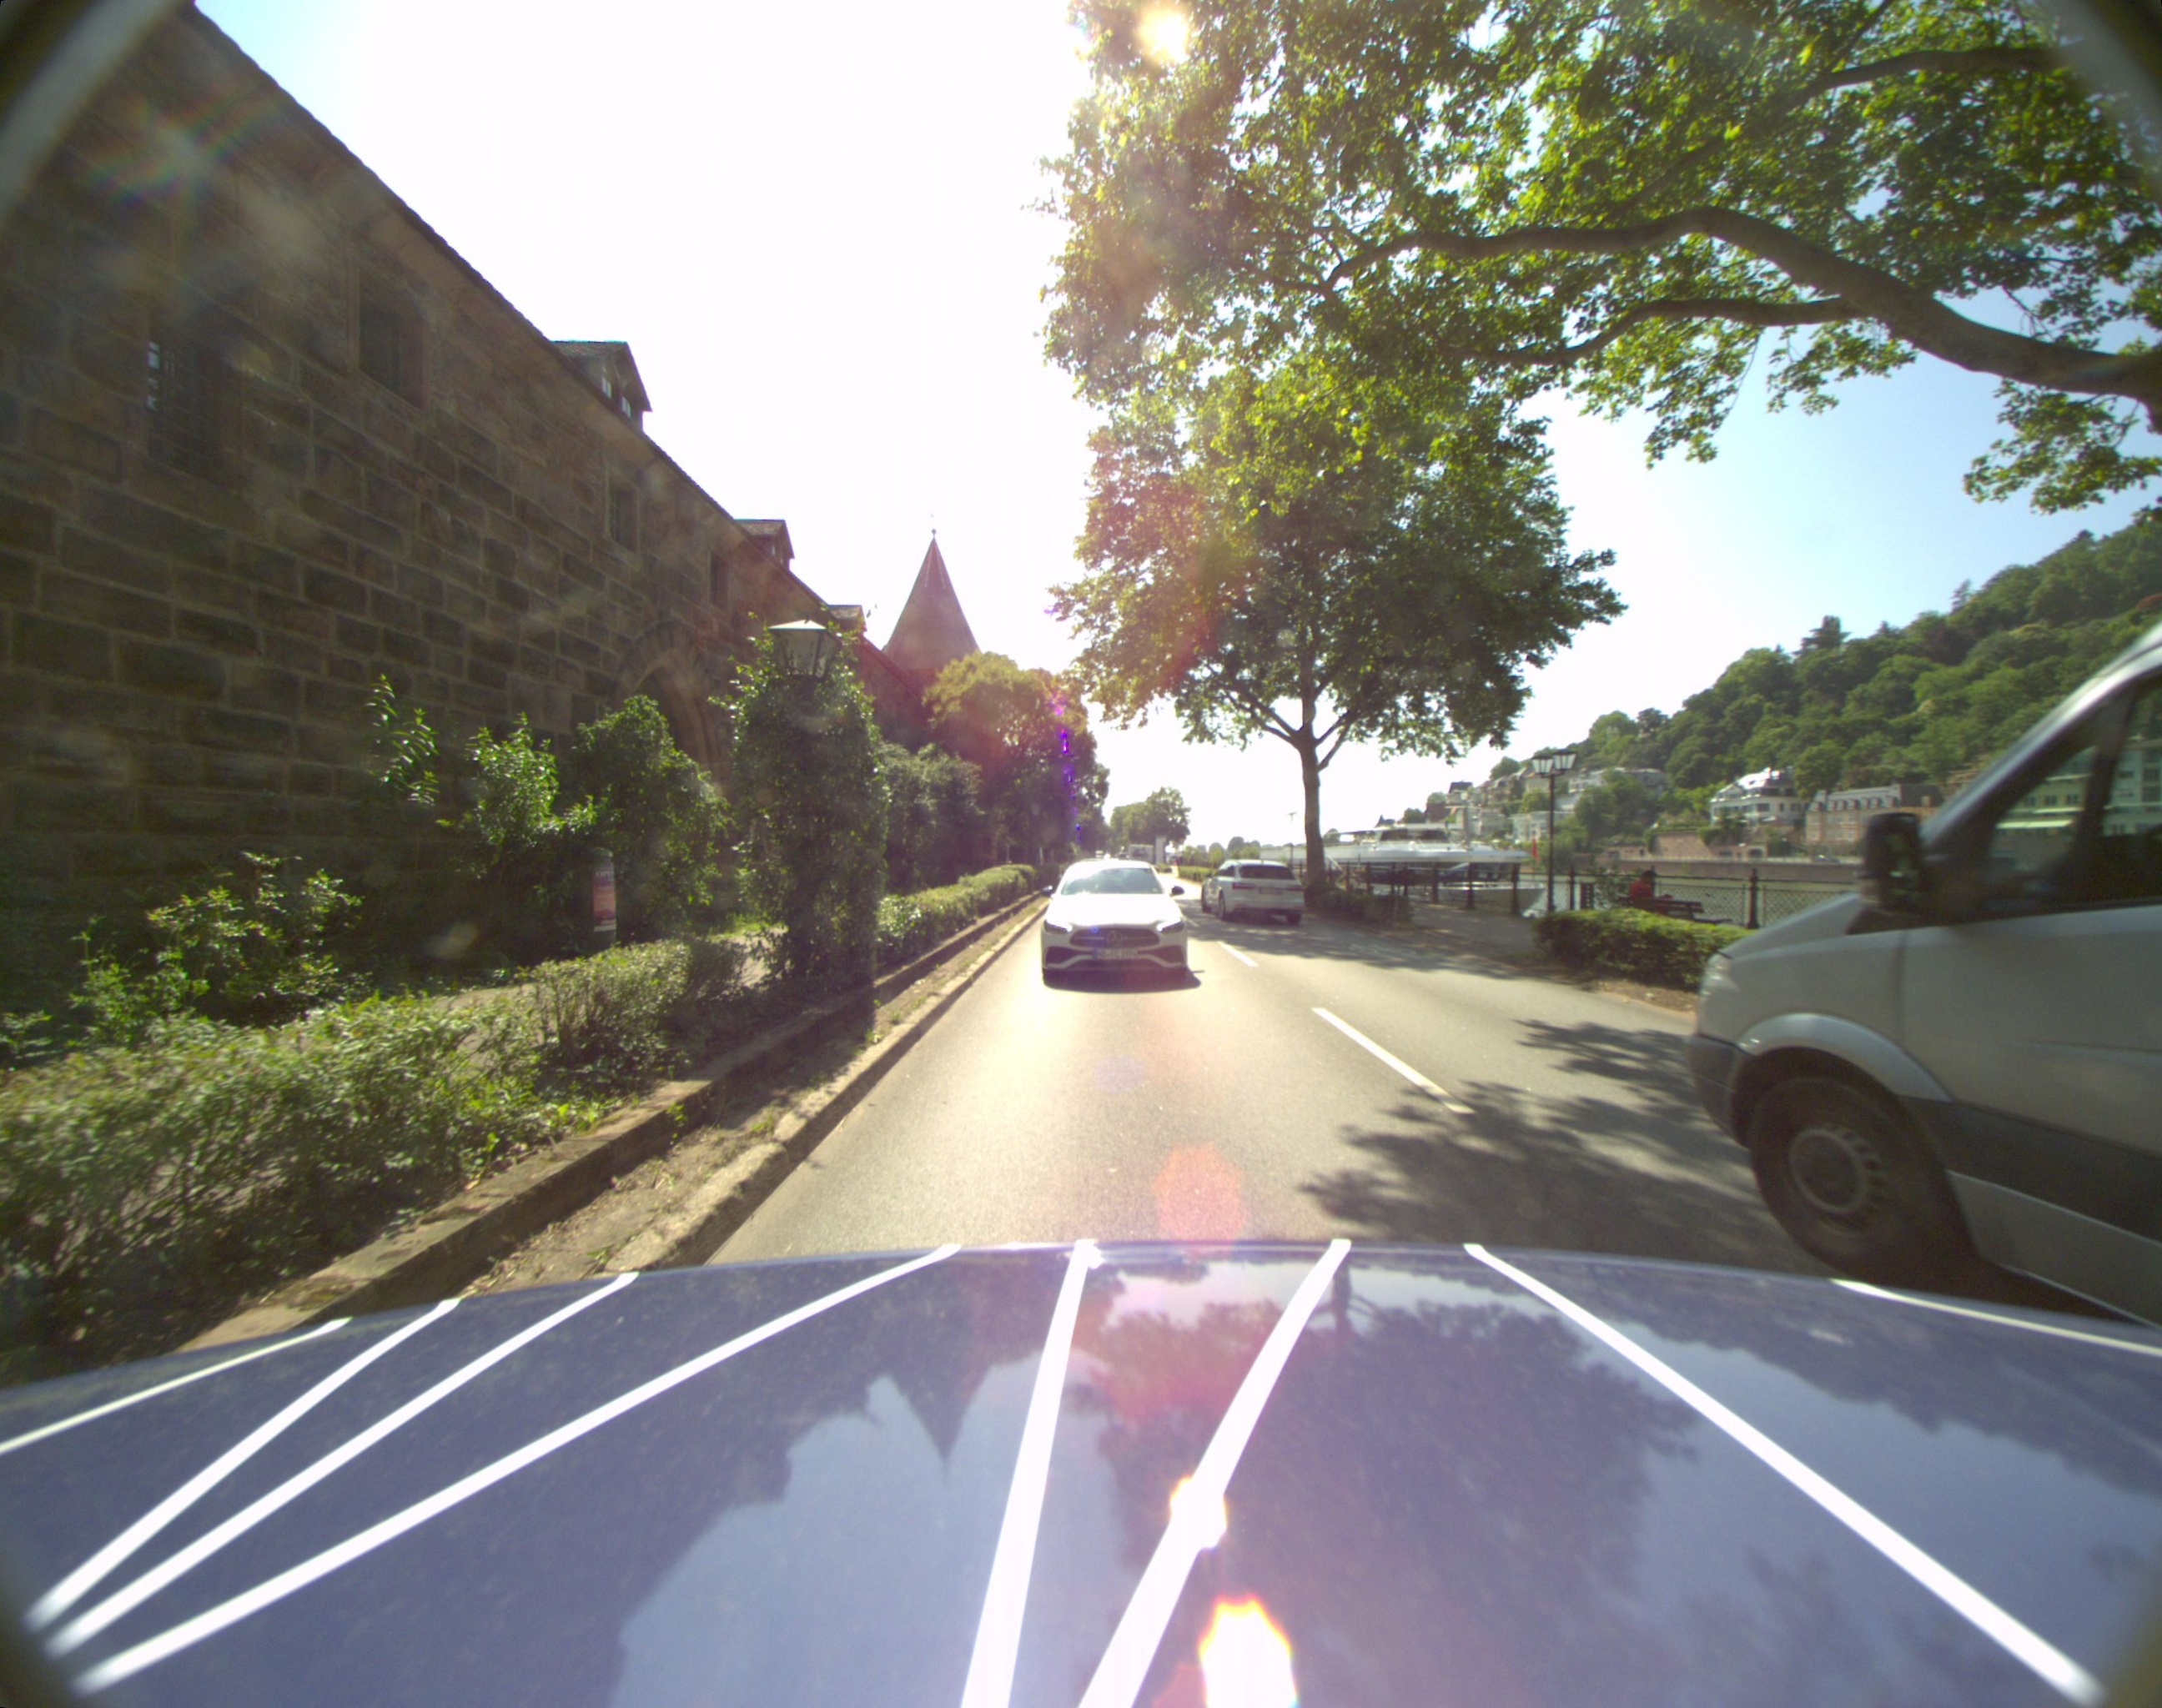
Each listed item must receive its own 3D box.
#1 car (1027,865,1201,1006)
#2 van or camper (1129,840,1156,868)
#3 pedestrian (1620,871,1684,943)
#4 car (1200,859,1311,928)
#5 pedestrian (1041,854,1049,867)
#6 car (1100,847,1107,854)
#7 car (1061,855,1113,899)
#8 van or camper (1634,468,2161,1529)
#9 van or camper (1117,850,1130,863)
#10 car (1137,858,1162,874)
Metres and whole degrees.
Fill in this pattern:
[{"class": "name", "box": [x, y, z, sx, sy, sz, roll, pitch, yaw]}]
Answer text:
[{"class": "car", "box": [0.410, 0.906, 10.297, 1.829, 1.418, 4.359, -1, 0, 1]}, {"class": "van or camper", "box": [6.215, -0.037, 77.899, 2.328, 2.647, 6.264, 2, 1, 1]}, {"class": "pedestrian", "box": [10.879, 0.999, 14.496, 0.704, 1.300, 0.656, -2, 1, 2]}, {"class": "car", "box": [4.215, 0.880, 19.063, 1.774, 1.448, 4.534, 1, 0, 1]}, {"class": "pedestrian", "box": [-3.278, 0.582, 69.986, 0.632, 1.186, 0.747, -2, 1, 4]}, {"class": "car", "box": [6.164, -0.893, 212.134, 1.922, 1.975, 4.000, 1, 0, 2]}, {"class": "car", "box": [0.274, 0.844, 29.732, 1.853, 1.543, 3.849, 1, 0, 2]}, {"class": "van or camper", "box": [3.561, 0.372, 0.627, 1.965, 2.552, 5.841, 2, 1, 2]}, {"class": "van or camper", "box": [6.579, 0.303, 117.675, 1.922, 1.975, 4.000, 0, 0, 2]}, {"class": "car", "box": [5.369, 0.896, 59.916, 1.702, 1.204, 3.485, 0, 0, 0]}]
